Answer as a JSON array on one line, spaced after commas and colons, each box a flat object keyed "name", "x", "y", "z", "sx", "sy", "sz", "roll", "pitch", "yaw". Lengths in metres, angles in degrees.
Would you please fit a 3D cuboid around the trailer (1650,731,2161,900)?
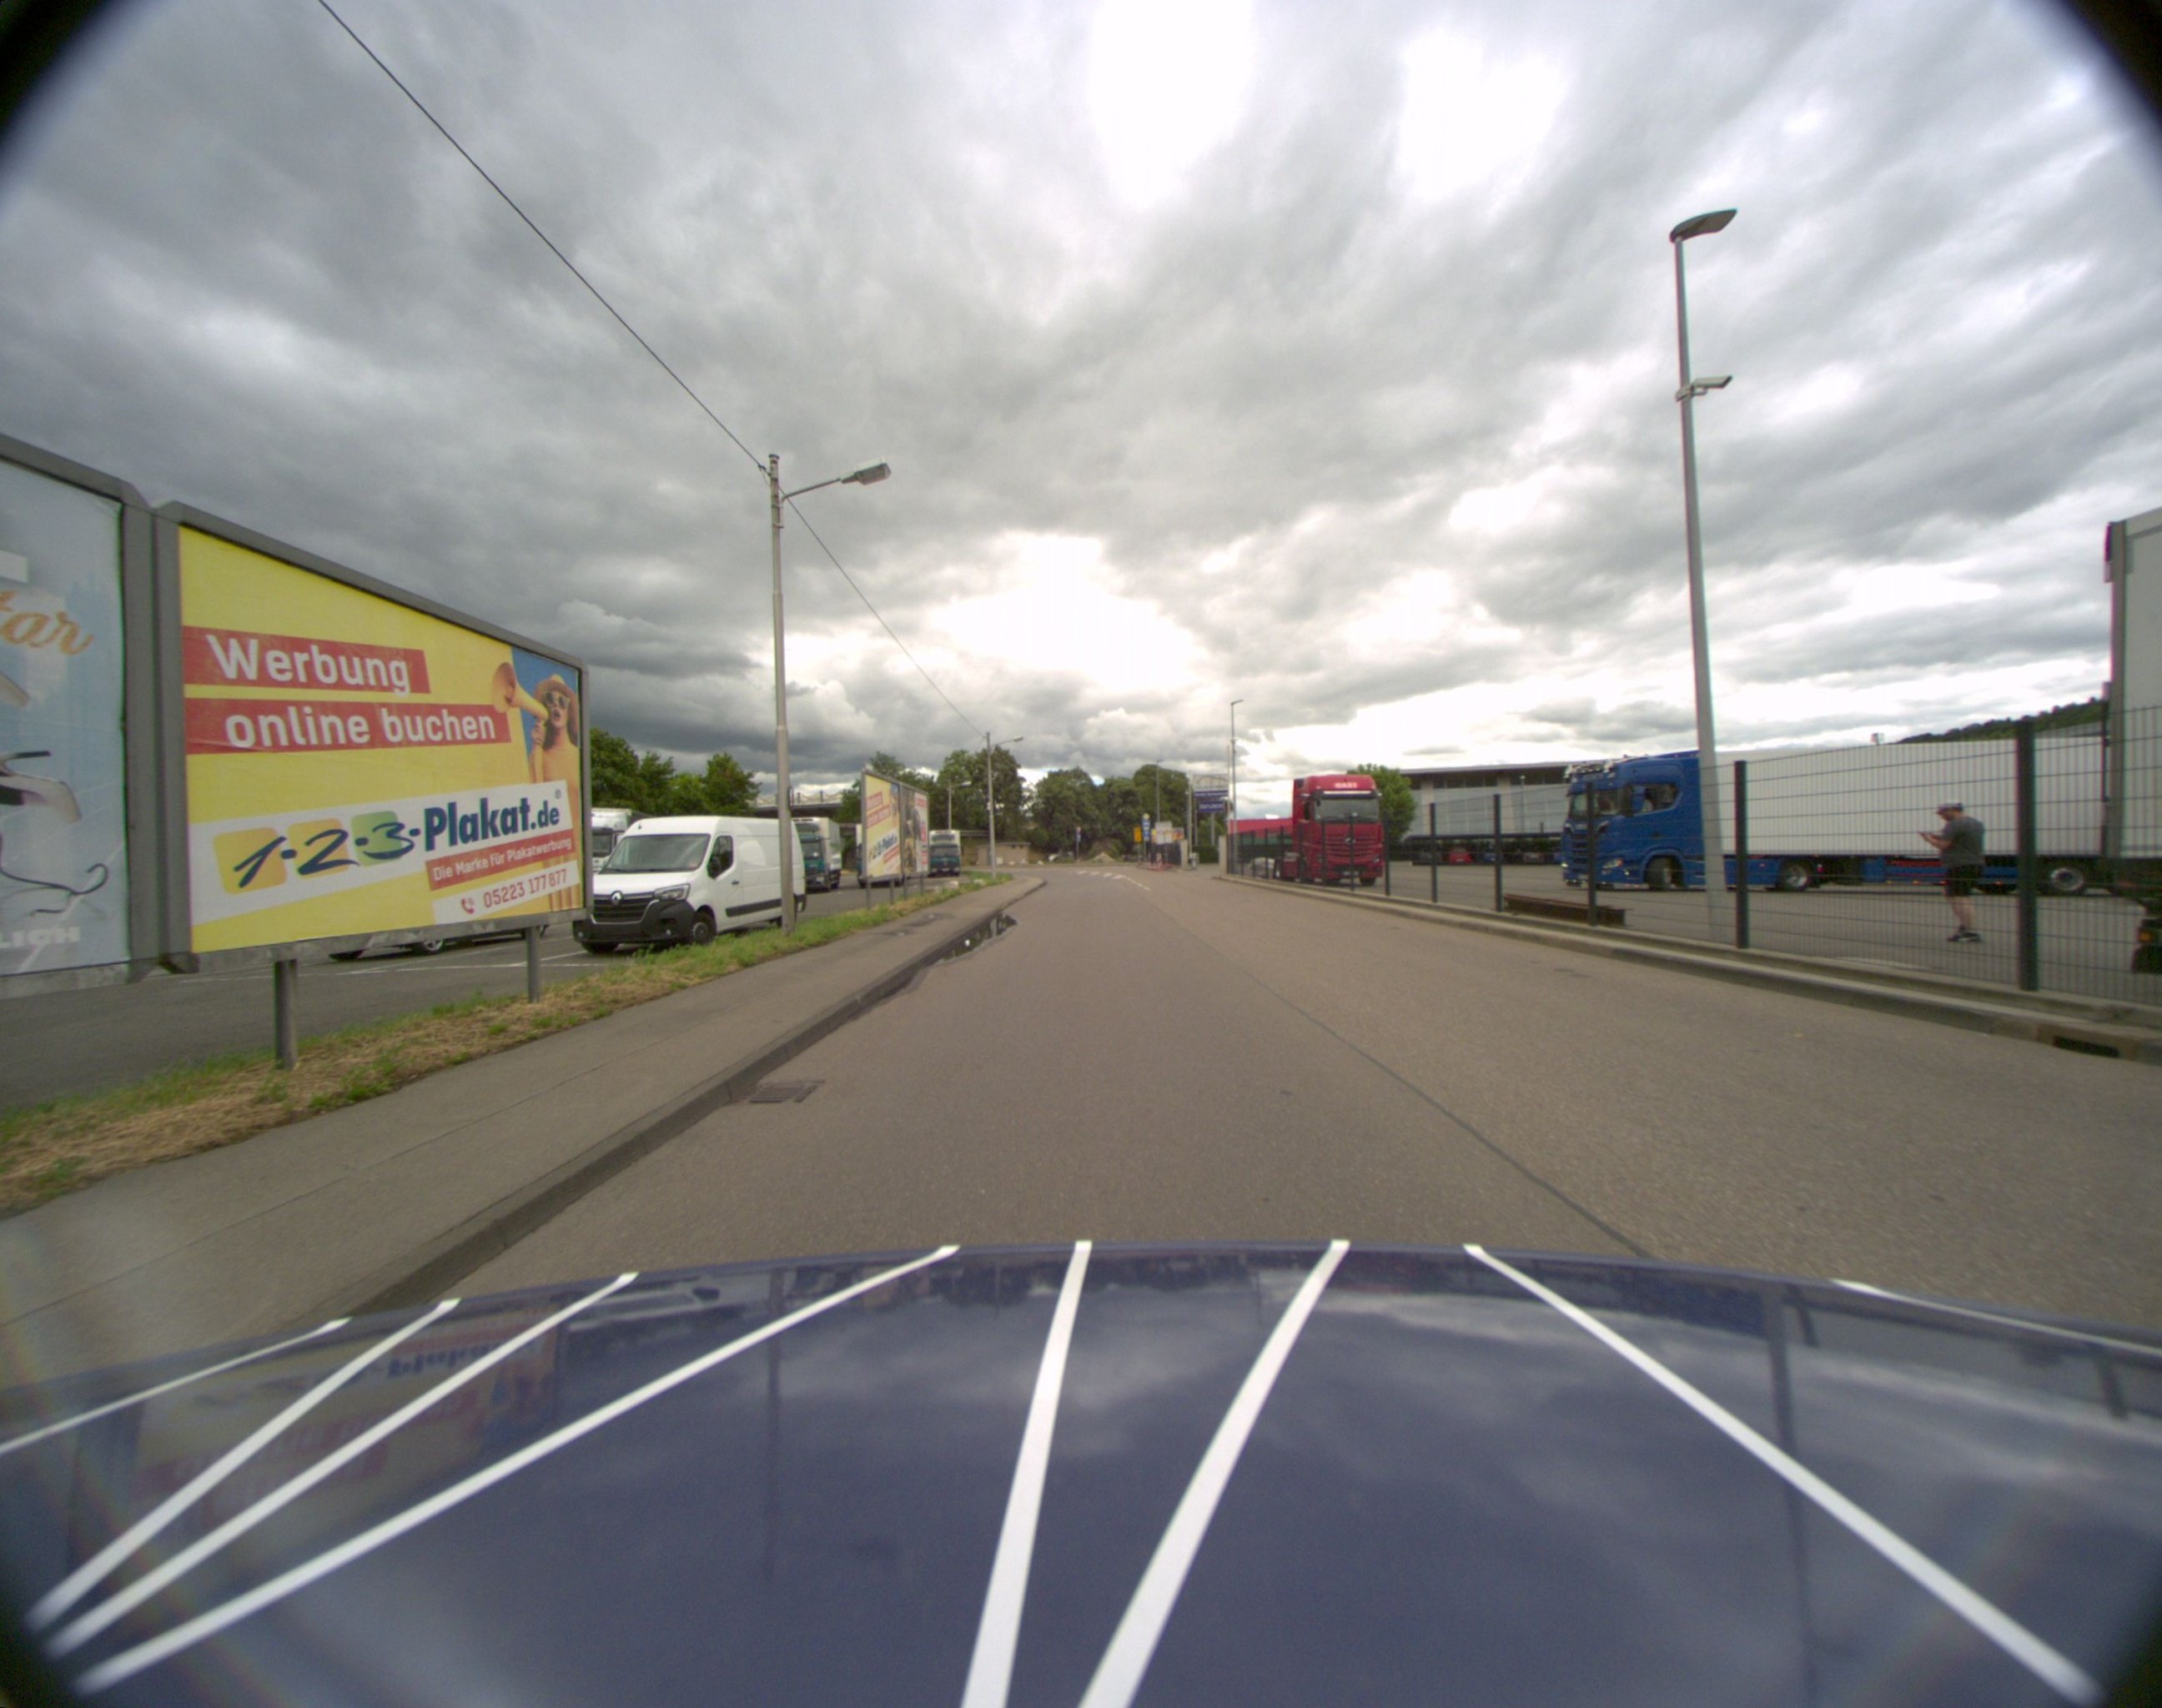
[{"name": "trailer", "x": 23.567, "y": -0.993, "z": 21.099, "sx": 12.020, "sy": 4.109, "sz": 3.052, "roll": 1, "pitch": 1, "yaw": 19}]

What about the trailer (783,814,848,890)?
[{"name": "trailer", "x": -16.141, "y": -0.106, "z": 47.068, "sx": 2.841, "sy": 4.071, "sz": 13.378, "roll": 0, "pitch": 0, "yaw": -15}]

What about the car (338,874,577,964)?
[{"name": "car", "x": -12.679, "y": 1.232, "z": 15.846, "sx": 1.497, "sy": 1.486, "sz": 4.053, "roll": -1, "pitch": 0, "yaw": 2}]

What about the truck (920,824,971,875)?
[{"name": "truck", "x": -10.989, "y": -0.335, "z": 61.061, "sx": 2.832, "sy": 3.690, "sz": 9.090, "roll": -2, "pitch": 0, "yaw": -17}]

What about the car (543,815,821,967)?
[{"name": "car", "x": -7.447, "y": 0.577, "z": 15.229, "sx": 2.091, "sy": 2.401, "sz": 6.084, "roll": -1, "pitch": 0, "yaw": 2}]

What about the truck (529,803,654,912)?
[{"name": "truck", "x": -20.288, "y": 0.131, "z": 31.965, "sx": 2.877, "sy": 4.071, "sz": 6.745, "roll": 0, "pitch": 0, "yaw": -19}]

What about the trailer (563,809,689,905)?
[{"name": "trailer", "x": -22.678, "y": 0.128, "z": 38.797, "sx": 2.842, "sy": 4.071, "sz": 13.373, "roll": 0, "pitch": 0, "yaw": -19}]

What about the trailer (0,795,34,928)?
[{"name": "trailer", "x": -32.729, "y": 0.228, "z": 17.751, "sx": 2.618, "sy": 4.071, "sz": 12.426, "roll": 0, "pitch": 0, "yaw": -16}]

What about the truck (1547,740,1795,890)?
[{"name": "truck", "x": 17.231, "y": -1.095, "z": 22.532, "sx": 4.878, "sy": 4.109, "sz": 3.048, "roll": 1, "pitch": 1, "yaw": 1}]

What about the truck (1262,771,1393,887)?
[{"name": "truck", "x": 8.897, "y": -0.850, "z": 28.169, "sx": 3.021, "sy": 3.827, "sz": 5.670, "roll": 1, "pitch": 1, "yaw": 1}]

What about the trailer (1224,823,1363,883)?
[{"name": "trailer", "x": 8.978, "y": -0.085, "z": 34.086, "sx": 3.046, "sy": 2.179, "sz": 12.047, "roll": 1, "pitch": 0, "yaw": 1}]

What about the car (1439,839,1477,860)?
[{"name": "car", "x": 31.692, "y": -0.403, "z": 63.938, "sx": 1.996, "sy": 1.707, "sz": 4.004, "roll": -1, "pitch": 0, "yaw": 14}]

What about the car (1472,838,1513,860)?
[{"name": "car", "x": 34.008, "y": -0.443, "z": 62.861, "sx": 1.996, "sy": 1.707, "sz": 4.004, "roll": -1, "pitch": 0, "yaw": 14}]

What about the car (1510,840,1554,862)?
[{"name": "car", "x": 36.342, "y": -0.244, "z": 61.326, "sx": 1.996, "sy": 1.707, "sz": 4.004, "roll": -1, "pitch": 0, "yaw": 14}]

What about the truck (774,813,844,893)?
[{"name": "truck", "x": -14.564, "y": -0.057, "z": 41.157, "sx": 2.876, "sy": 3.990, "sz": 6.748, "roll": 0, "pitch": 0, "yaw": -14}]

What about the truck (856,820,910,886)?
[{"name": "truck", "x": -11.754, "y": -0.077, "z": 45.277, "sx": 2.876, "sy": 3.609, "sz": 6.748, "roll": 0, "pitch": 0, "yaw": -14}]

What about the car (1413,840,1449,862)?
[{"name": "car", "x": 29.218, "y": -0.257, "z": 63.592, "sx": 1.996, "sy": 1.707, "sz": 4.004, "roll": -1, "pitch": 0, "yaw": 14}]

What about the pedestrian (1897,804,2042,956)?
[{"name": "pedestrian", "x": 11.184, "y": 0.313, "z": 9.598, "sx": 0.805, "sy": 1.809, "sz": 0.880, "roll": -1, "pitch": 1, "yaw": -2}]

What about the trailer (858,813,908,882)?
[{"name": "trailer", "x": -13.431, "y": -0.377, "z": 51.429, "sx": 2.841, "sy": 4.071, "sz": 13.378, "roll": 0, "pitch": 0, "yaw": -15}]
